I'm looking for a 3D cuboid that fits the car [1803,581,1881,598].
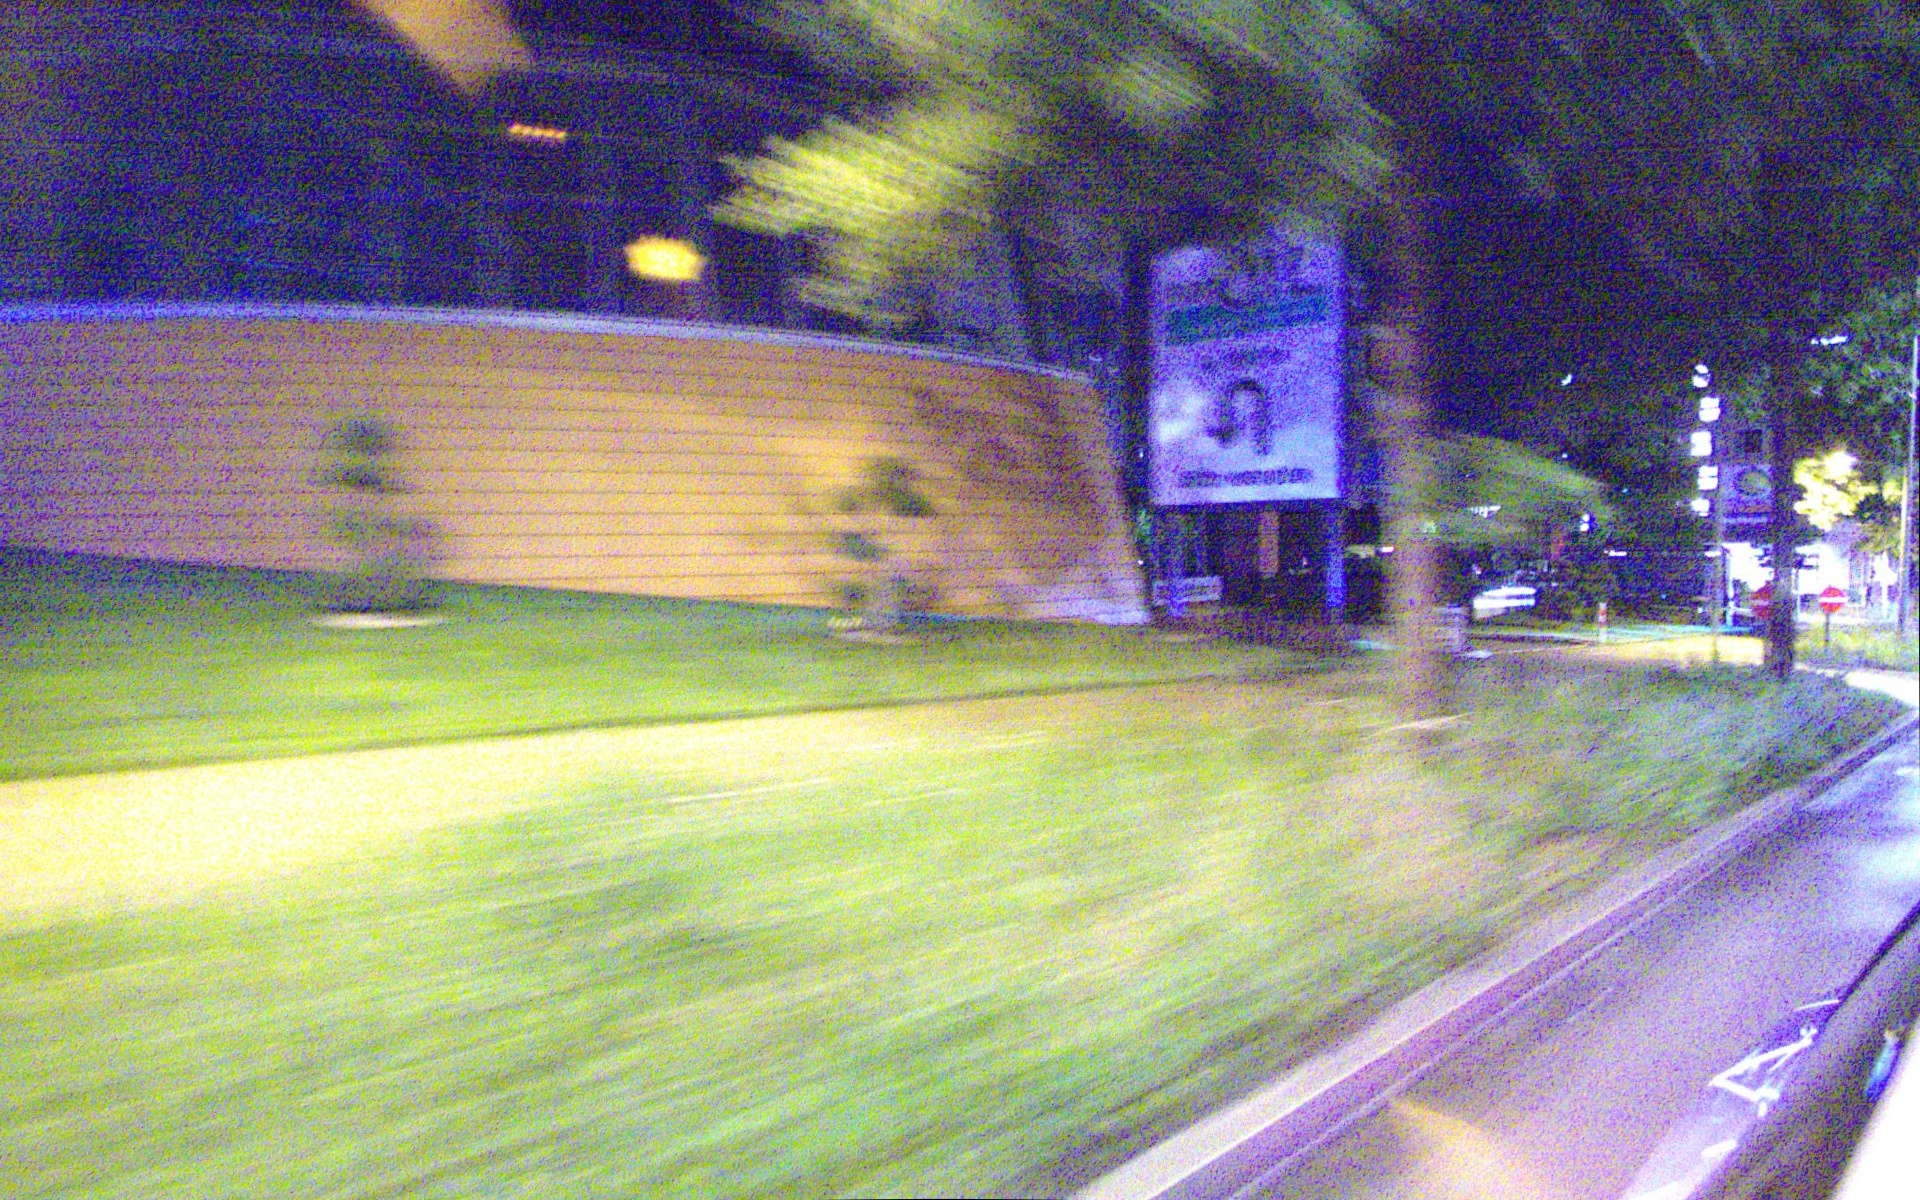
[{"bbox_3d":[62.925,-0.741,72.255,3.933,1.047,1.481,3,1,8],"label":"car"}]
